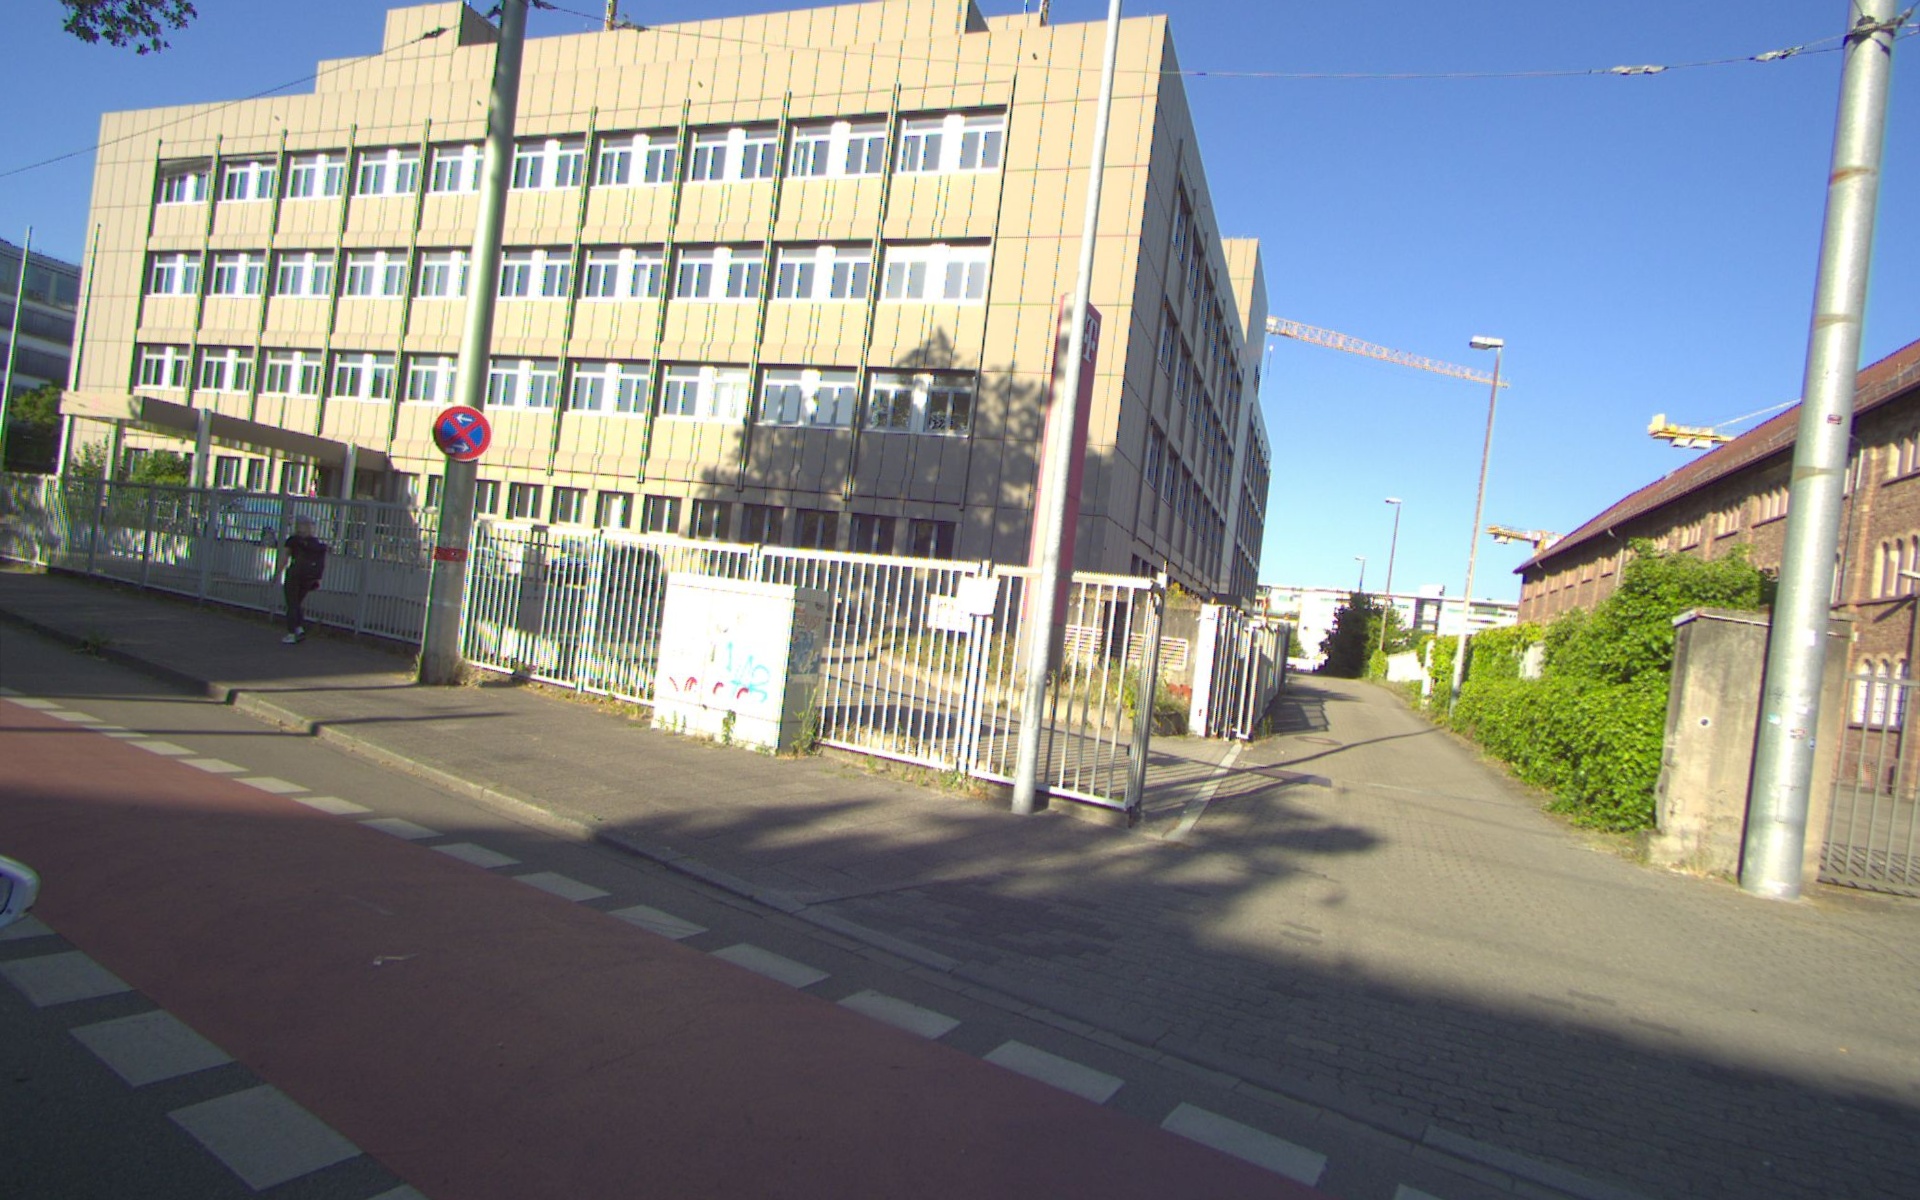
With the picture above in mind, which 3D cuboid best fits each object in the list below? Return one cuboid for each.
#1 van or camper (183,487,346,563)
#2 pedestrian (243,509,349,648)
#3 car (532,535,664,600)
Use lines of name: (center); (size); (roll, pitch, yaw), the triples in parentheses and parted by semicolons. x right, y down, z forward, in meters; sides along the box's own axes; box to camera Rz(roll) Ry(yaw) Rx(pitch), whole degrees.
van or camper: (-23.739, -2.566, 34.334); (4.907, 1.932, 1.987); (7, 0, 20)
pedestrian: (-8.790, -0.278, 13.317); (0.915, 1.704, 0.697); (7, 0, 31)
car: (-12.650, -1.091, 35.458); (1.956, 1.738, 4.267); (7, -1, 20)
